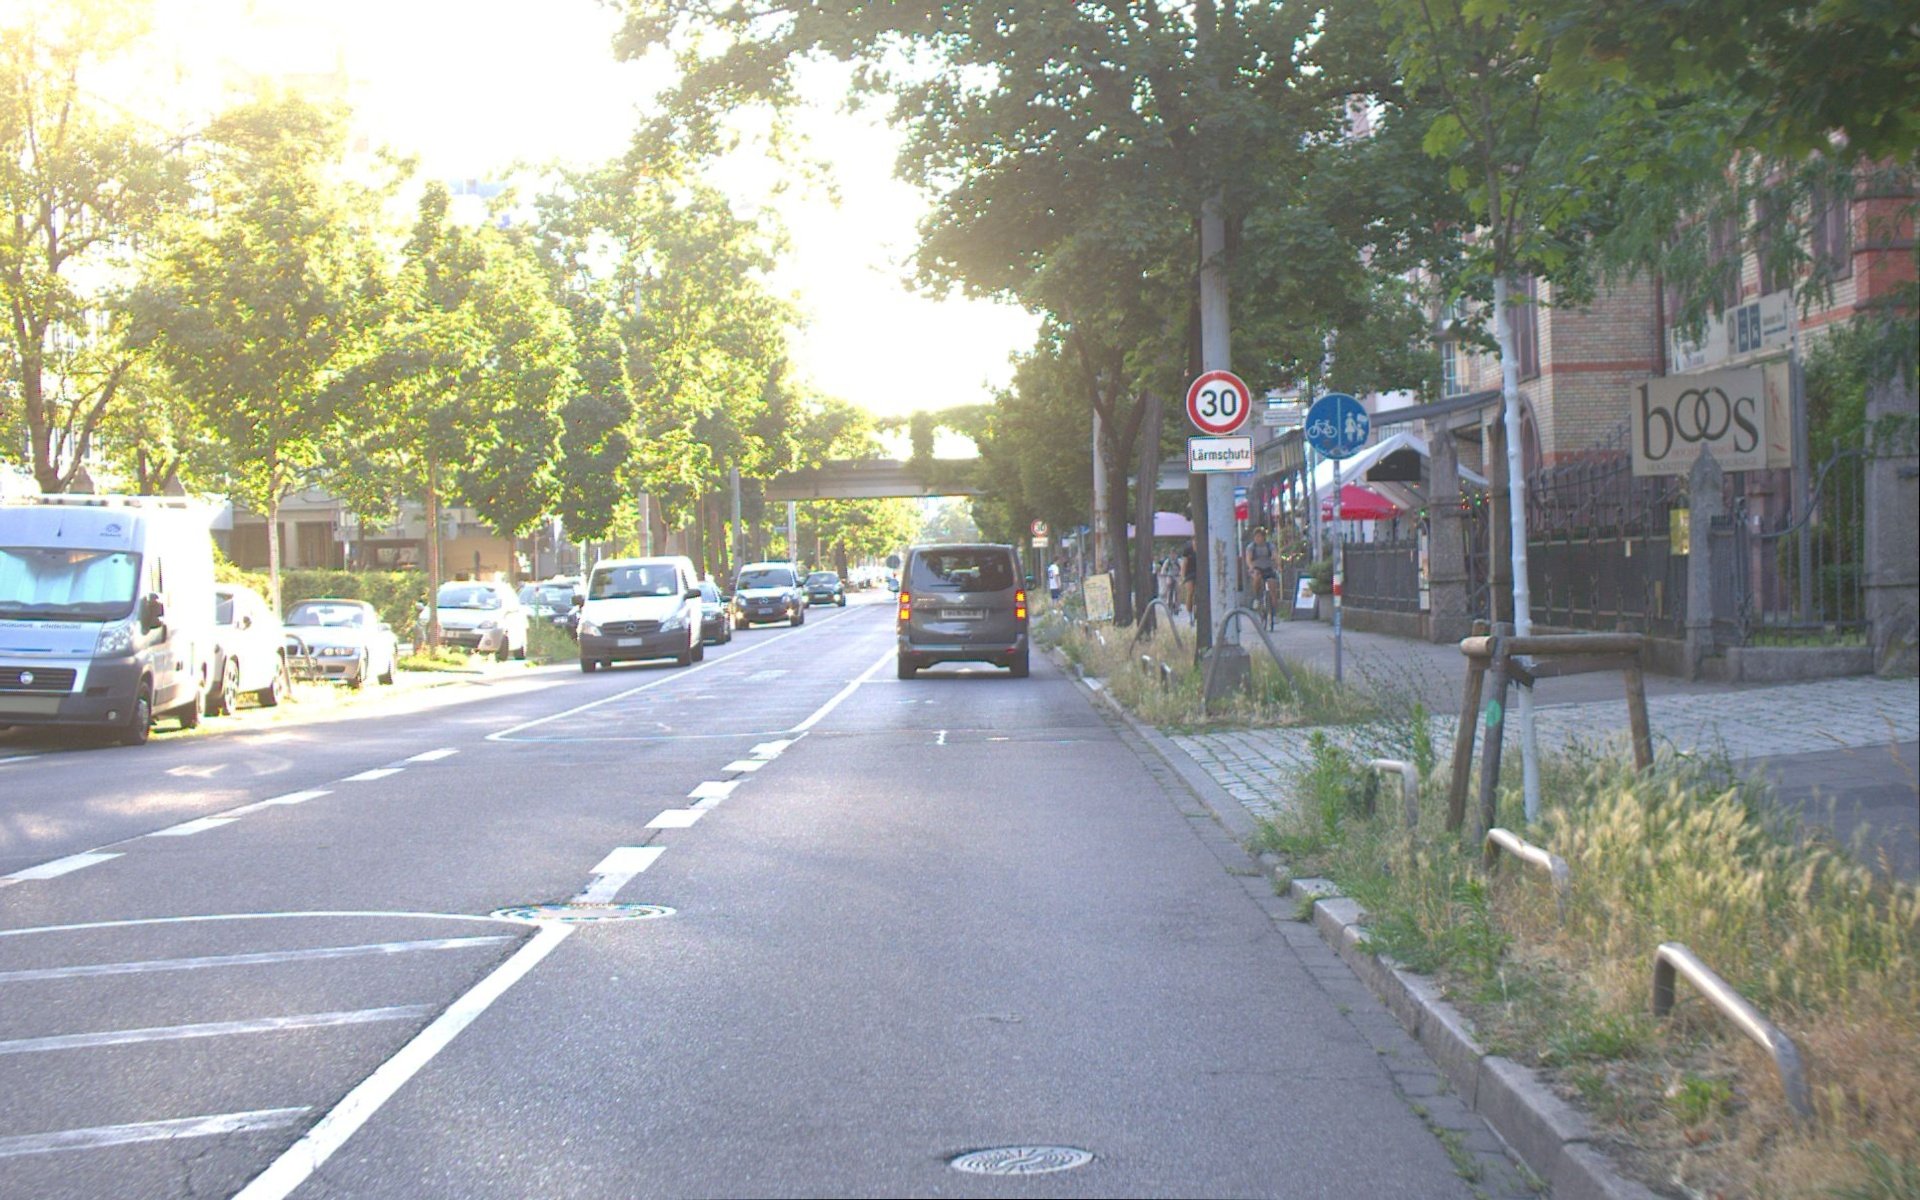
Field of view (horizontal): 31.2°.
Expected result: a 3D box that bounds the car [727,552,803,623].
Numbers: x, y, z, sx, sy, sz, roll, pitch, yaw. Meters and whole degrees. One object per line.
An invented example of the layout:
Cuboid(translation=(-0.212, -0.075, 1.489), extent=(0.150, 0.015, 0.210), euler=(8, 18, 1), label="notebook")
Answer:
Cuboid(translation=(-5.395, -0.371, 95.590), extent=(1.833, 1.846, 4.474), euler=(-3, 1, -1), label="car")

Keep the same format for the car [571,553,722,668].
Cuboid(translation=(-5.456, 0.141, 60.428), extent=(1.993, 1.825, 5.169), euler=(-3, 1, 1), label="car")

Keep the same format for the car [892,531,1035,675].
Cuboid(translation=(0.089, 0.003, 49.462), extent=(1.887, 1.918, 3.839), euler=(-3, 1, 1), label="car")

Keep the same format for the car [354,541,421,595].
Cuboid(translation=(-24.825, -1.423, 149.253), extent=(1.993, 2.300, 5.245), euler=(0, 1, 0), label="car")

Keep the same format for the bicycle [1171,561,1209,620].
Cuboid(translation=(4.133, -0.177, 61.969), extent=(0.544, 1.036, 2.089), euler=(0, 1, 0), label="bicycle")

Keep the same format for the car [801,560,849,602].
Cuboid(translation=(-5.437, -0.774, 138.943), extent=(1.679, 1.525, 4.000), euler=(-4, 1, 0), label="car")

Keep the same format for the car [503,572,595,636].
Cuboid(translation=(-9.295, 0.072, 77.901), extent=(1.638, 1.381, 4.000), euler=(0, 1, -1), label="car")

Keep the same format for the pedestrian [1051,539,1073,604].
Cuboid(translation=(2.955, -0.834, 100.000), extent=(0.504, 1.882, 0.545), euler=(0, 1, -14), label="pedestrian")

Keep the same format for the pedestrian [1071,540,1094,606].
Cuboid(translation=(3.536, -0.787, 99.110), extent=(0.504, 1.882, 0.545), euler=(0, 1, -14), label="pedestrian")

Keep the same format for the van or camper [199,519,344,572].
Cuboid(translation=(-33.496, -2.646, 167.379), extent=(6.562, 2.513, 2.449), euler=(0, 1, -1), label="van or camper")

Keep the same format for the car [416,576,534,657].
Cuboid(translation=(-9.167, 0.290, 65.227), extent=(1.697, 1.446, 4.000), euler=(0, 1, -1), label="car")

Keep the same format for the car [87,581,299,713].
Cuboid(translation=(-9.567, 0.551, 43.178), extent=(1.746, 1.529, 4.303), euler=(0, 1, -1), label="car")

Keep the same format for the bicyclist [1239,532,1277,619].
Cuboid(translation=(5.280, -0.438, 60.900), extent=(0.595, 1.527, 0.893), euler=(0, 1, 0), label="bicyclist")

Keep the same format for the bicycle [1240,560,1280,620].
Cuboid(translation=(5.296, -0.190, 60.774), extent=(0.517, 1.036, 2.089), euler=(0, 1, 0), label="bicycle")

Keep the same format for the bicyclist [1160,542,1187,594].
Cuboid(translation=(5.146, -0.775, 82.816), extent=(0.585, 1.232, 1.112), euler=(0, 1, 0), label="bicyclist")

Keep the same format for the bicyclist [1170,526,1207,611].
Cuboid(translation=(4.121, -0.566, 61.978), extent=(0.595, 1.527, 0.893), euler=(0, 1, 0), label="bicyclist")

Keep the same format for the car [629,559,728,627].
Cuboid(translation=(-6.289, -0.178, 77.198), extent=(1.759, 1.381, 4.305), euler=(-3, 1, 0), label="car")

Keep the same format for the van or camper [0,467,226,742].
Cuboid(translation=(-9.206, 0.002, 36.280), extent=(1.993, 2.659, 6.039), euler=(0, 1, -4), label="van or camper")

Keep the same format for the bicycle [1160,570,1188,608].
Cuboid(translation=(5.148, -0.269, 82.759), extent=(0.579, 0.894, 1.987), euler=(0, 1, 1), label="bicycle")

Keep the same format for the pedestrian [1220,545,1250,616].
Cuboid(translation=(6.365, -0.450, 79.637), extent=(0.644, 1.627, 0.656), euler=(0, 1, 1), label="pedestrian")

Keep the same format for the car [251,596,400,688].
Cuboid(translation=(-9.252, 0.590, 50.336), extent=(1.536, 1.244, 3.614), euler=(0, 1, -1), label="car")
